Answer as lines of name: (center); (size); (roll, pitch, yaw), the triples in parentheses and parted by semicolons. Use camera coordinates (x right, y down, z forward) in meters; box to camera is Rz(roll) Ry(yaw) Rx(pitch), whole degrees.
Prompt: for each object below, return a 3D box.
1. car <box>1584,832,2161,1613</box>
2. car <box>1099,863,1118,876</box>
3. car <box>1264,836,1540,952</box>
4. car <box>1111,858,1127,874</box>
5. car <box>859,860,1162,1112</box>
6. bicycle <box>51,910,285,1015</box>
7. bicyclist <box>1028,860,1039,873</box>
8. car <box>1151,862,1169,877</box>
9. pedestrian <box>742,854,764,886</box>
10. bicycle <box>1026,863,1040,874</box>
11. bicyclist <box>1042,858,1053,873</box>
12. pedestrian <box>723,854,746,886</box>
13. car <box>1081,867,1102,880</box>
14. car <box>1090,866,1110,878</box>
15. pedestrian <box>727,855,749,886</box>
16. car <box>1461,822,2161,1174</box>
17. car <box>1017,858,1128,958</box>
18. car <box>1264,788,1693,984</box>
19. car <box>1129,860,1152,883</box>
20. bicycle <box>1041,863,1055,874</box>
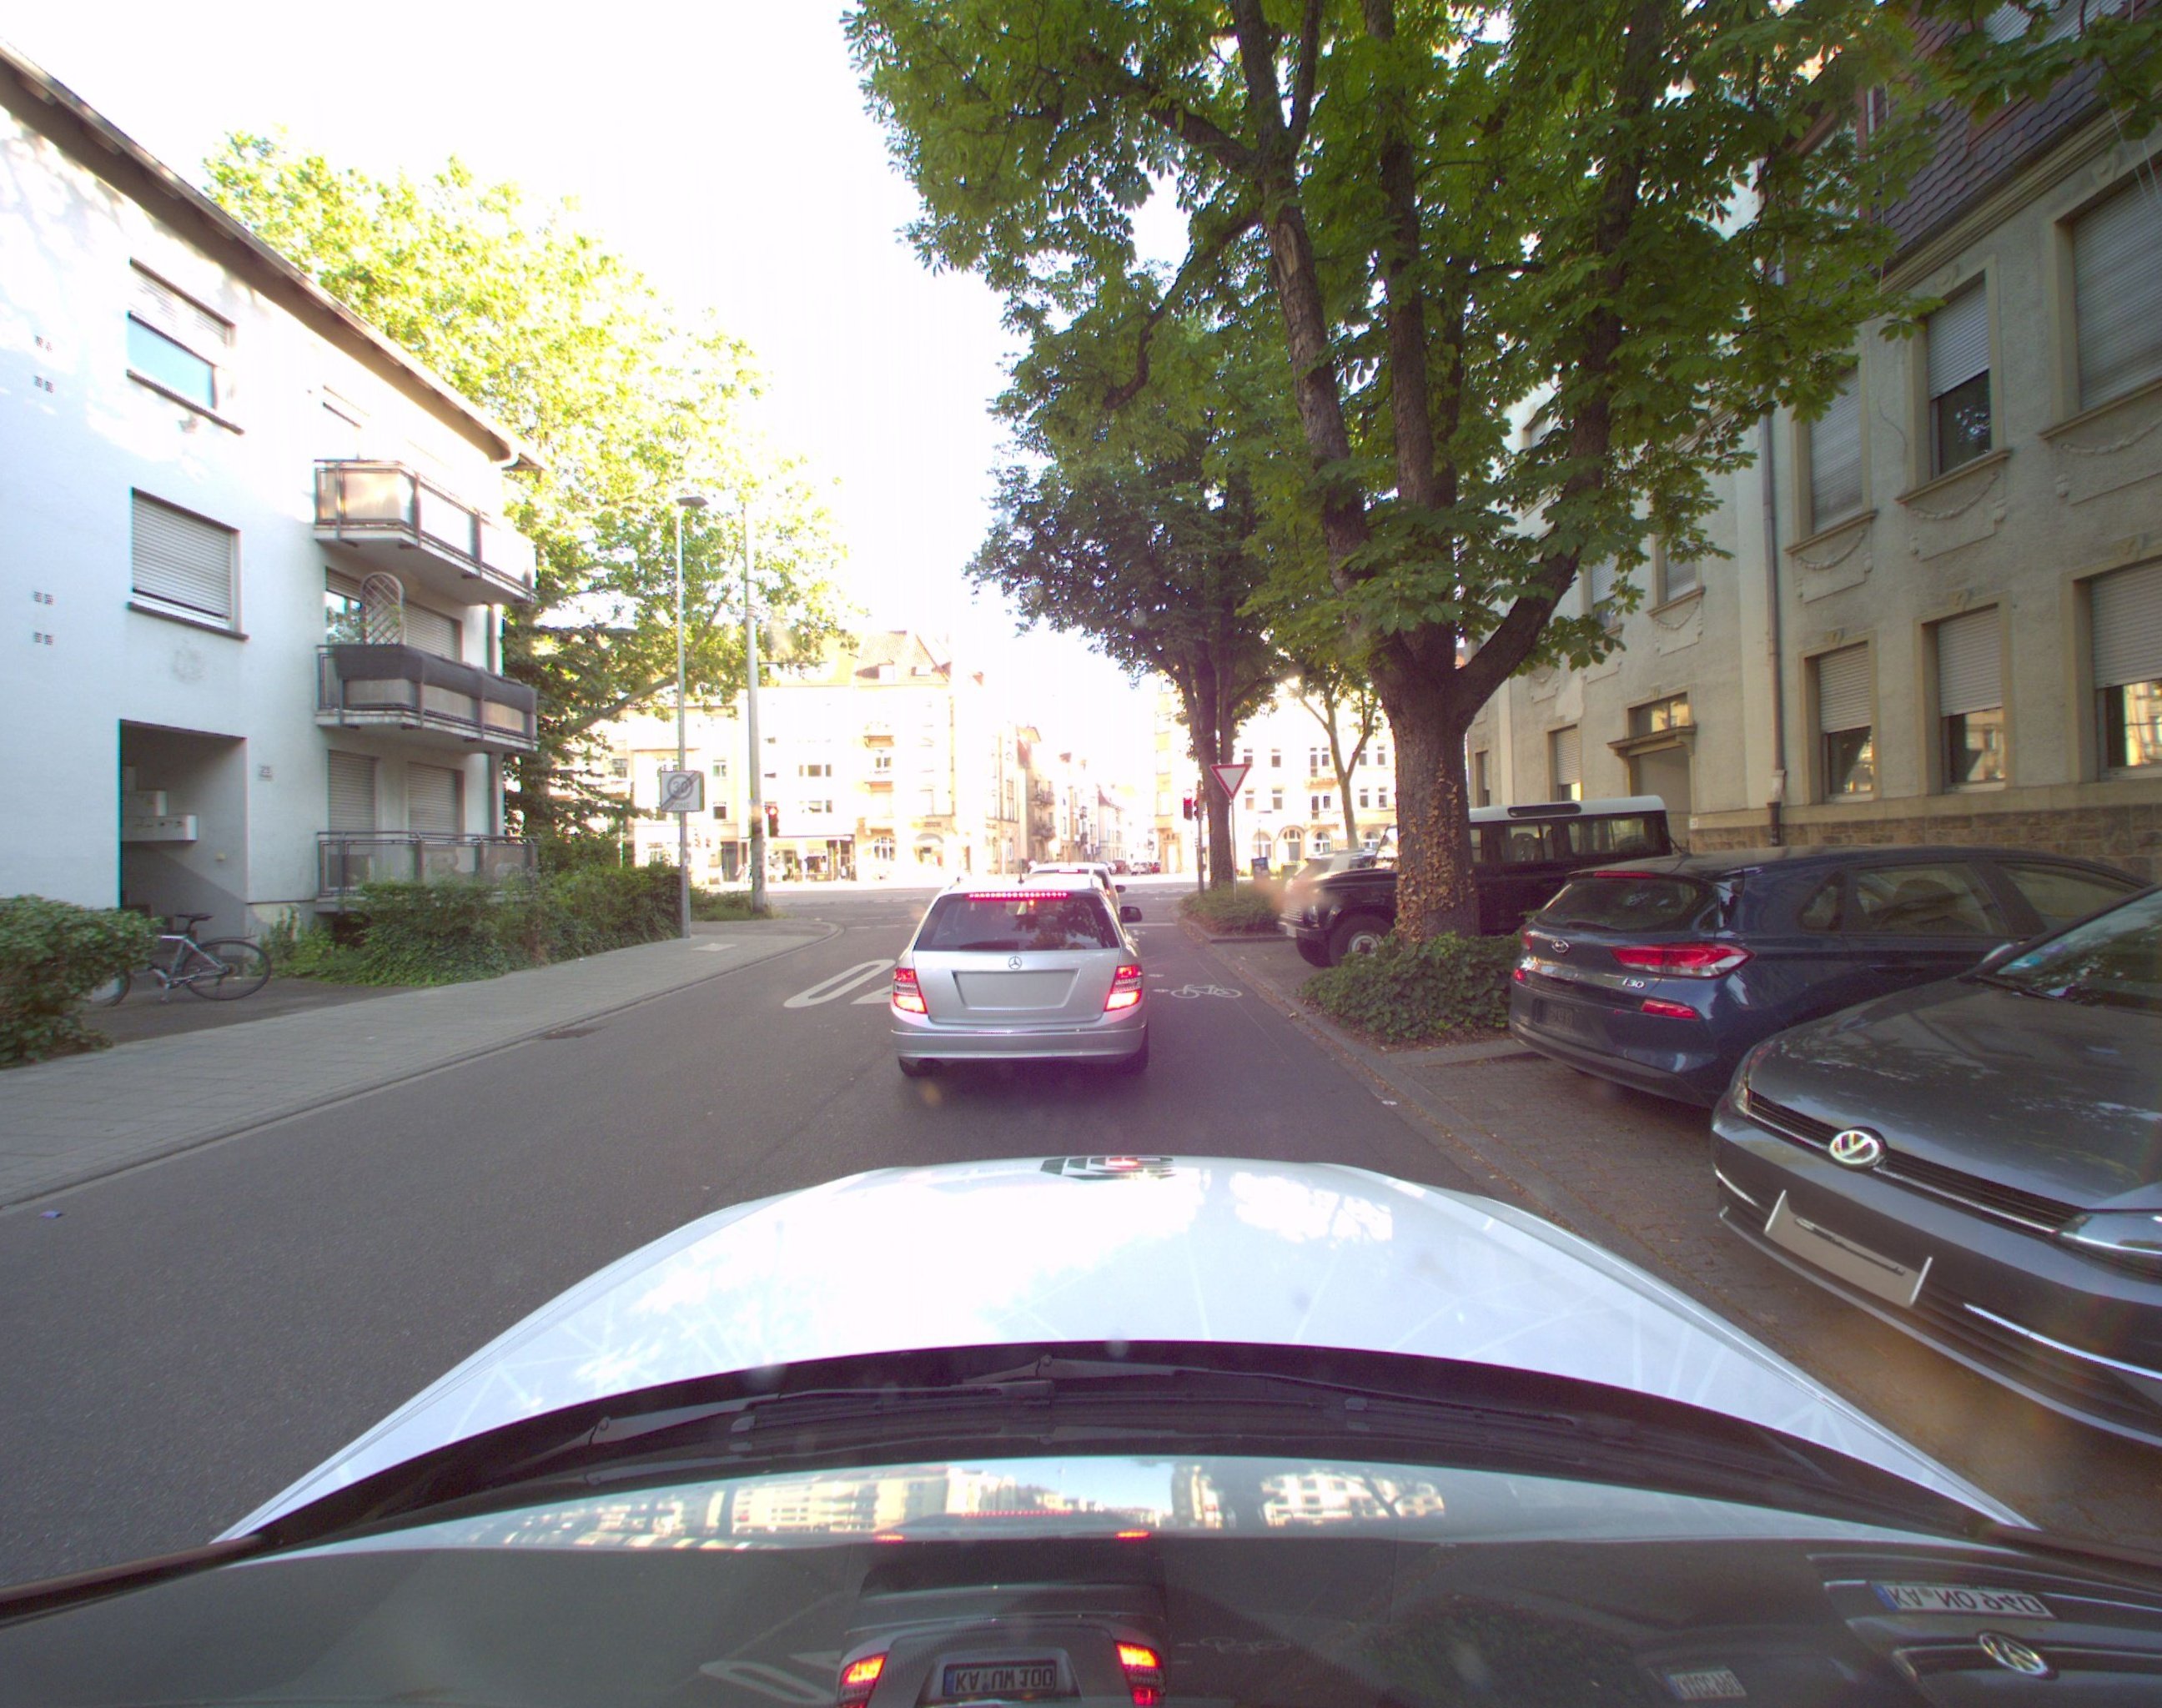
car: (4.033, 0.642, 2.389); (4.042, 1.452, 1.722); (-3, -1, -2)
car: (3.702, 2.059, 108.845); (1.824, 1.663, 4.012); (-1, 0, 10)
car: (5.030, 0.609, 13.095); (3.714, 1.570, 1.707); (-3, -1, -2)
car: (5.475, 1.711, 117.405); (1.776, 2.204, 4.012); (-1, 0, 10)
car: (-0.402, 0.790, 7.088); (1.771, 1.452, 4.547); (-1, 0, 0)
bicycle: (-9.994, 1.159, 9.012); (1.630, 1.008, 0.511); (2, -2, -39)
bicyclist: (-4.310, 1.110, 73.730); (0.765, 1.156, 0.755); (-1, 0, 13)
car: (9.872, 1.898, 101.863); (1.824, 1.744, 4.012); (-1, 0, 10)
pedestrian: (-26.060, 1.279, 64.717); (1.343, 2.464, 1.059); (-1, 0, -3)
bicycle: (-4.327, 1.332, 73.651); (0.765, 0.940, 1.947); (-1, 0, 13)
bicyclist: (-3.010, 1.021, 73.710); (0.765, 1.290, 0.755); (-1, 0, 13)
pedestrian: (-27.101, 1.263, 63.692); (1.343, 2.464, 1.059); (-1, 0, -3)
car: (1.321, 2.295, 97.169); (1.824, 1.402, 4.012); (-1, 0, 10)
car: (2.391, 2.247, 102.639); (1.824, 1.402, 4.012); (-1, 0, 10)
pedestrian: (-27.577, 1.295, 65.493); (1.343, 2.464, 1.059); (-1, 0, -3)
car: (4.398, 0.626, 4.561); (3.714, 1.452, 1.707); (-3, -1, -2)
car: (-0.108, 0.807, 14.176); (1.614, 1.447, 4.344); (-1, 0, 0)
car: (4.741, 0.359, 10.135); (4.453, 2.036, 1.700); (-3, -1, -2)
car: (6.302, 1.807, 85.907); (2.018, 2.279, 4.012); (-1, 0, 10)
bicycle: (-3.005, 1.314, 73.707); (0.765, 0.934, 1.947); (-1, 0, 13)
